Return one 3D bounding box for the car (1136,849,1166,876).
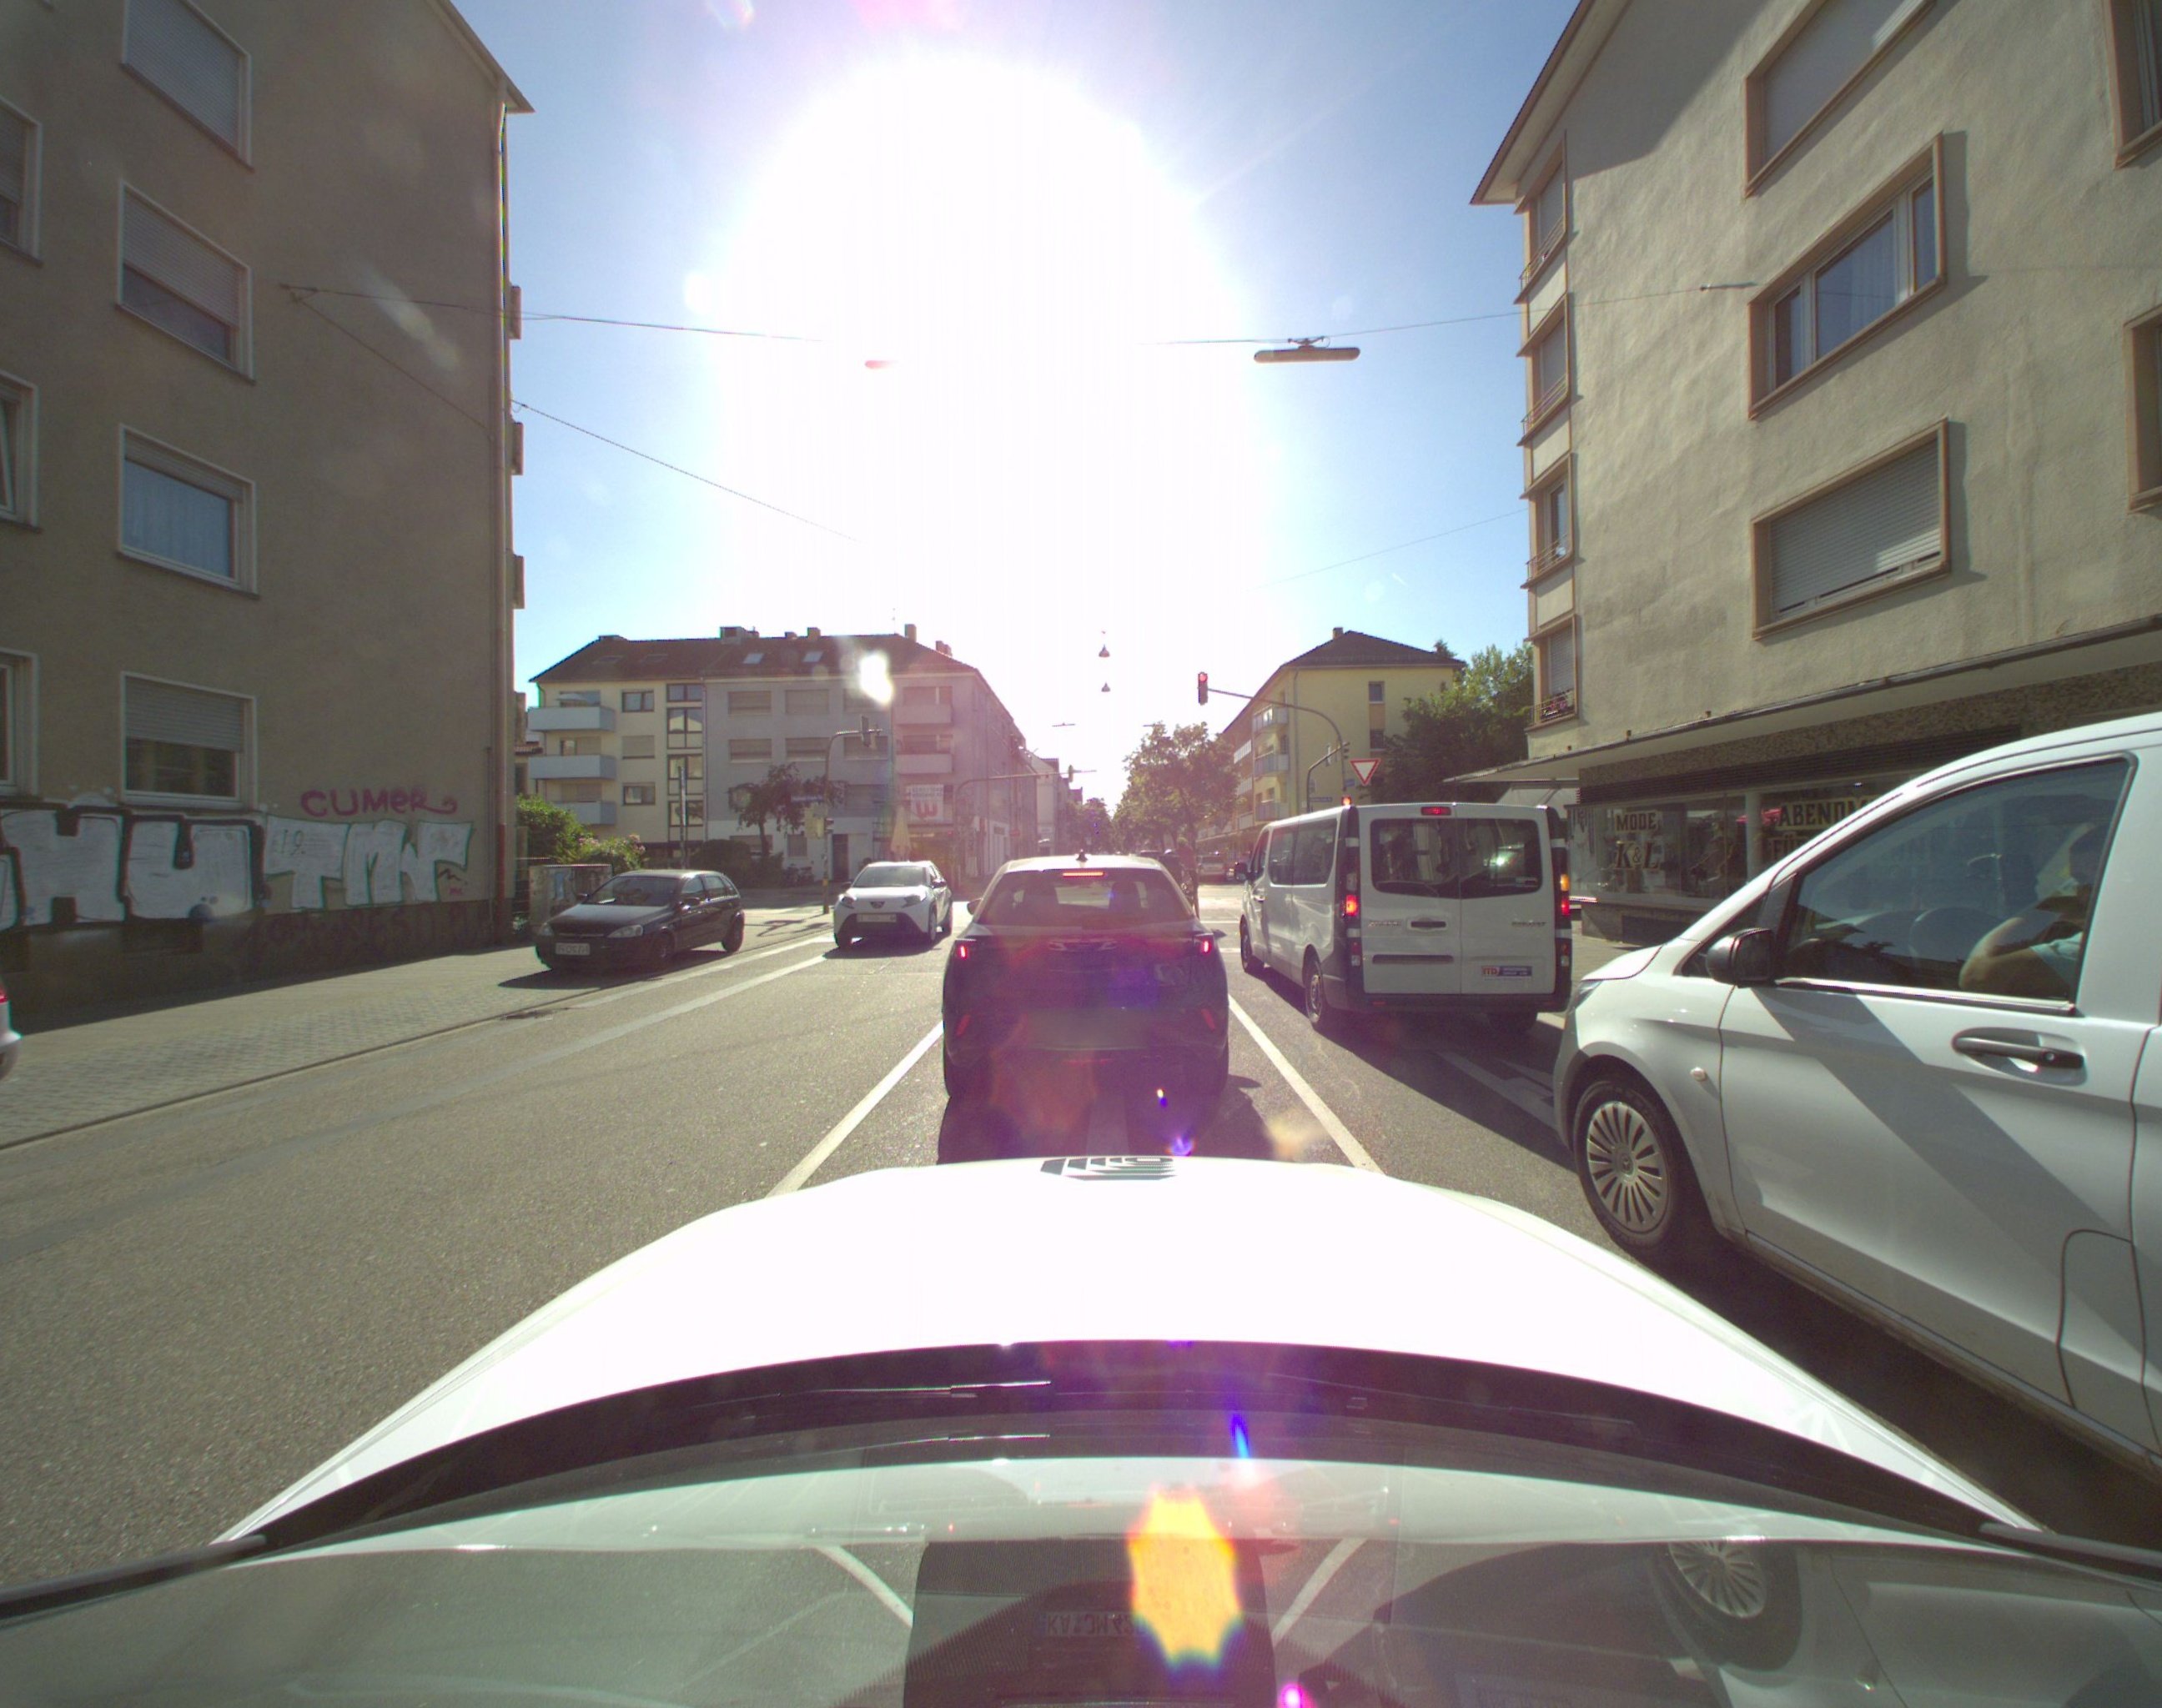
[{"bbox_3d":[4.598,0.549,53.978,1.894,1.728,4.077,-1,0,4],"label":"car"}]

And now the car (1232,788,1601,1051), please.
[{"bbox_3d":[2.999,0.496,8.616,1.986,1.979,4.896,0,0,1],"label":"car"}]

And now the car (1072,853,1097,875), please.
[{"bbox_3d":[0.329,0.793,67.098,1.817,1.728,4.004,-1,0,3],"label":"car"}]

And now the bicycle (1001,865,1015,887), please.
[{"bbox_3d":[-3.956,1.186,44.233,0.520,1.147,2.283,-1,0,0],"label":"bicycle"}]

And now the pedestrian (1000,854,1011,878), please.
[{"bbox_3d":[-4.984,0.783,53.767,0.615,1.521,0.724,-1,0,-1],"label":"pedestrian"}]

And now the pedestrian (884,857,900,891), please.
[{"bbox_3d":[-8.806,0.930,37.948,0.582,1.521,0.649,-1,0,-1],"label":"pedestrian"}]

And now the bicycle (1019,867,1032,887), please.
[{"bbox_3d":[-3.025,1.235,44.272,0.520,0.992,2.339,-1,0,0],"label":"bicycle"}]

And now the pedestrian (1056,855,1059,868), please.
[{"bbox_3d":[-3.253,1.036,111.284,0.400,1.675,0.418,-1,0,1],"label":"pedestrian"}]

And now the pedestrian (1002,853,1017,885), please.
[{"bbox_3d":[-3.873,0.791,44.070,0.704,1.678,0.802,-1,0,0],"label":"pedestrian"}]

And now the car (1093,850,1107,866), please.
[{"bbox_3d":[2.497,0.467,106.087,1.848,2.013,3.882,-1,0,2],"label":"car"}]

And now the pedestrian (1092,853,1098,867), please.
[{"bbox_3d":[1.741,0.765,98.056,0.566,1.690,0.590,-1,0,13],"label":"pedestrian"}]

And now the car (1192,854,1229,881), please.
[{"bbox_3d":[7.474,0.744,47.296,1.628,1.433,3.958,-1,0,2],"label":"car"}]

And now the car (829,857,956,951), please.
[{"bbox_3d":[-3.516,0.863,15.824,1.762,1.536,3.781,-2,0,-4],"label":"car"}]

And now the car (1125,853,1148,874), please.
[{"bbox_3d":[4.753,0.787,70.250,1.894,1.728,4.003,-1,0,2],"label":"car"}]

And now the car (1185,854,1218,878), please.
[{"bbox_3d":[7.658,0.761,52.048,1.628,1.433,4.002,-1,0,2],"label":"car"}]

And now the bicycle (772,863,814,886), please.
[{"bbox_3d":[-15.356,1.065,43.445,2.103,1.172,0.735,-1,0,-22],"label":"bicycle"}]

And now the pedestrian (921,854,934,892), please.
[{"bbox_3d":[-7.253,0.877,38.512,0.560,1.775,0.582,-1,0,-7],"label":"pedestrian"}]

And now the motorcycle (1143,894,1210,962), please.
[{"bbox_3d":[1.412,1.074,12.323,0.822,0.845,1.885,-1,0,1],"label":"motorcycle"}]

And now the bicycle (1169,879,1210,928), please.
[{"bbox_3d":[2.350,1.048,17.801,0.575,0.904,2.301,-1,0,0],"label":"bicycle"}]

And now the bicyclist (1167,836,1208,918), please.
[{"bbox_3d":[2.303,0.477,17.751,0.687,1.712,1.414,-1,0,0],"label":"bicyclist"}]

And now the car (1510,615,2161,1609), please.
[{"bbox_3d":[2.937,0.474,1.334,1.830,1.869,4.996,-1,0,0],"label":"car"}]

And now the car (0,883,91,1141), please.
[{"bbox_3d":[-7.127,0.912,2.694,1.711,1.465,4.817,1,0,1],"label":"car"}]

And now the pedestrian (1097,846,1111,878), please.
[{"bbox_3d":[1.210,0.425,43.844,0.704,1.701,0.802,-1,0,0],"label":"pedestrian"}]

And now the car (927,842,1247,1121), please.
[{"bbox_3d":[0.042,0.714,6.567,1.765,1.530,3.999,-1,0,0],"label":"car"}]

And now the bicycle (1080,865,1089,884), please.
[{"bbox_3d":[0.173,1.107,44.171,0.442,0.992,2.068,-1,0,0],"label":"bicycle"}]

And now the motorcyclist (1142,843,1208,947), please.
[{"bbox_3d":[1.420,0.606,12.475,0.861,1.502,1.160,-1,0,1],"label":"motorcyclist"}]

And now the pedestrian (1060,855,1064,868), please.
[{"bbox_3d":[-2.570,1.043,111.019,0.400,1.675,0.418,-1,0,1],"label":"pedestrian"}]

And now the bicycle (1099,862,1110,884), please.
[{"bbox_3d":[1.261,1.030,44.077,0.520,1.147,2.170,-1,0,0],"label":"bicycle"}]

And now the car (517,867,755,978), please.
[{"bbox_3d":[-6.768,0.957,12.884,1.610,1.425,3.711,1,0,1],"label":"car"}]

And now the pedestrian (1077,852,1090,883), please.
[{"bbox_3d":[0.152,0.724,44.012,0.678,1.606,0.762,-1,0,0],"label":"pedestrian"}]

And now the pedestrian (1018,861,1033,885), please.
[{"bbox_3d":[-2.988,1.002,43.839,0.704,1.253,0.802,-1,0,0],"label":"pedestrian"}]
